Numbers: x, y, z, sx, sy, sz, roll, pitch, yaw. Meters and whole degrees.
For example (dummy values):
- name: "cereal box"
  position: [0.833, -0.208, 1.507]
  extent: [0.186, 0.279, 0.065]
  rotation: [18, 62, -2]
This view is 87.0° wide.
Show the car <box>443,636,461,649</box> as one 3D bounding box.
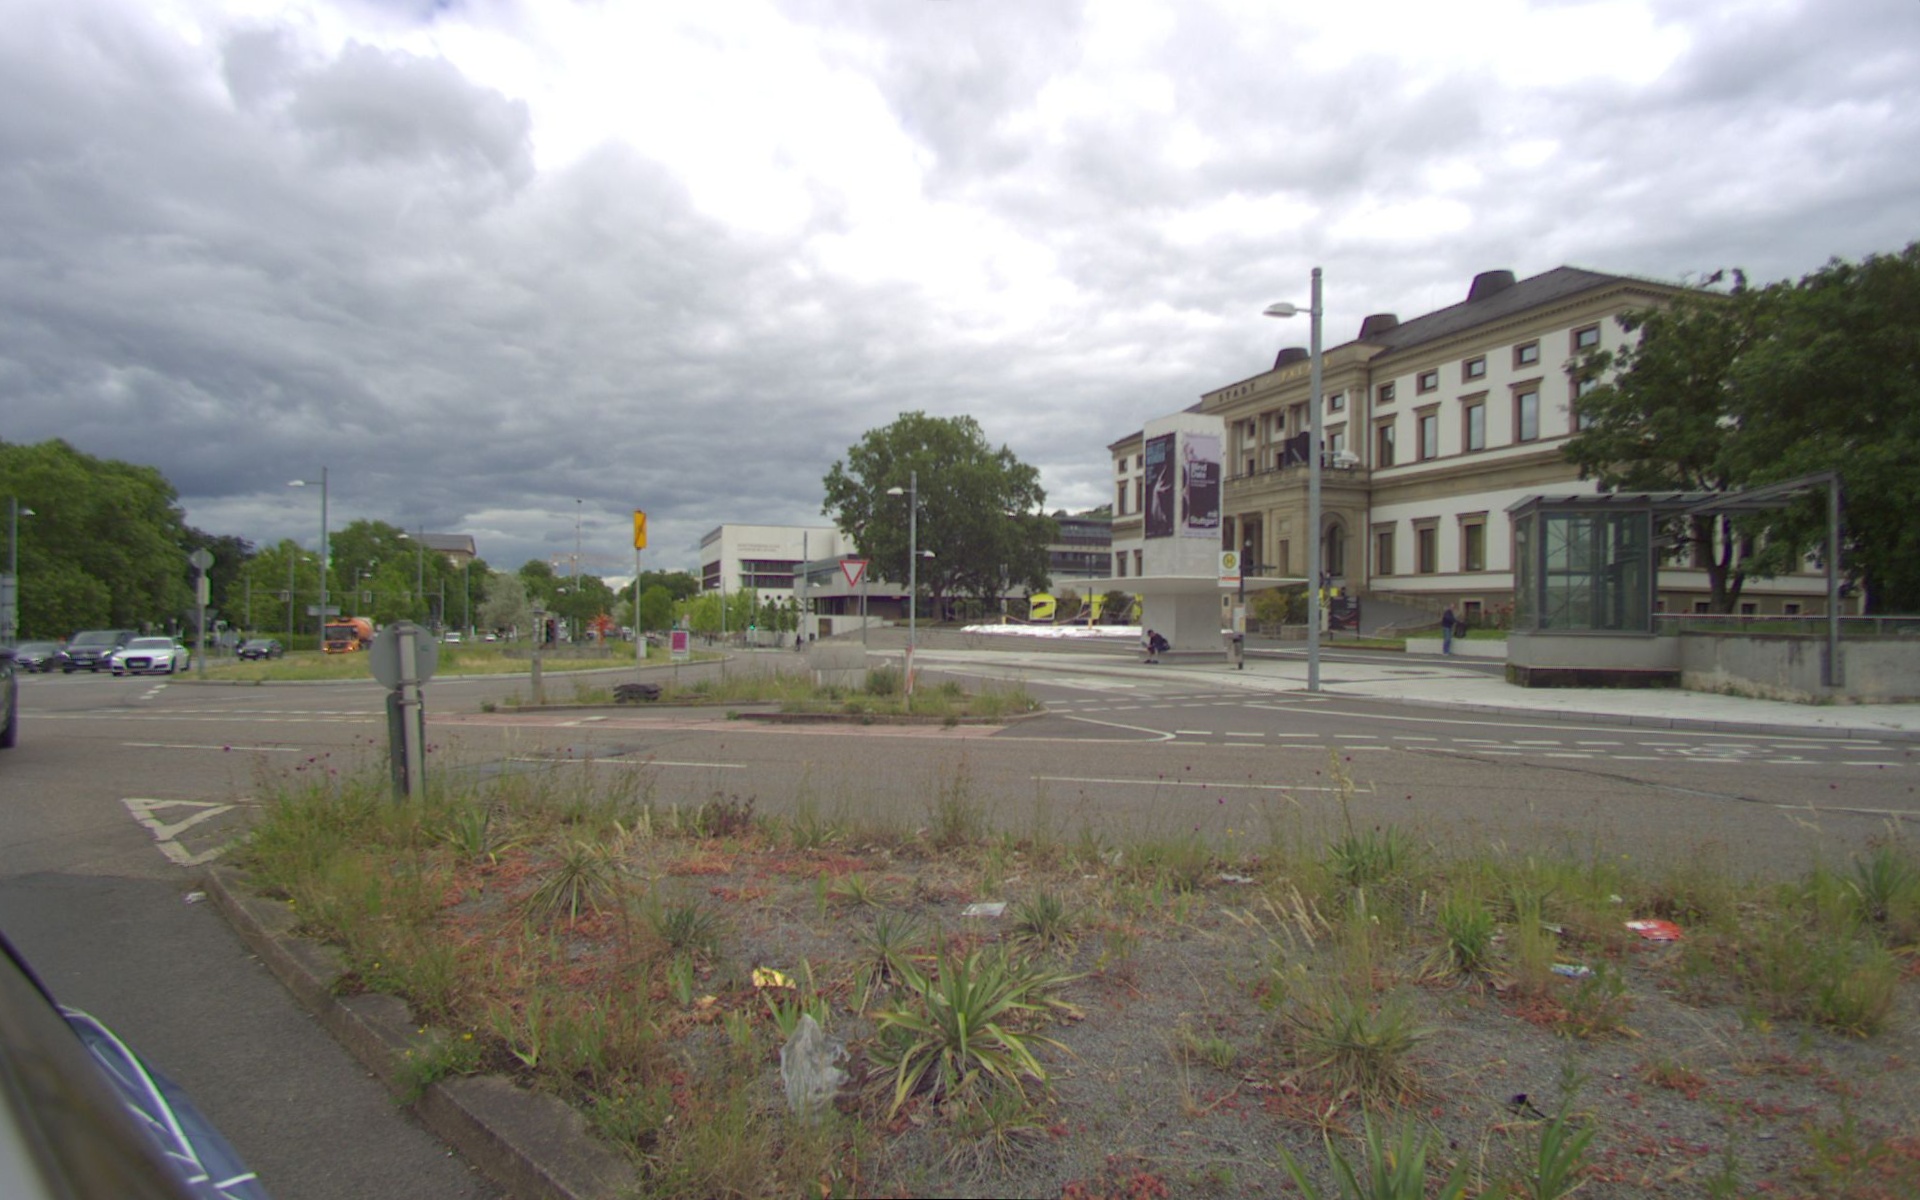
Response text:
- name: "car"
  position: [-77.439, 6.494, 154.242]
  extent: [1.753, 1.859, 3.810]
  rotation: [-1, -2, -17]

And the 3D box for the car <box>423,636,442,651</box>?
- name: "car"
  position: [-71.485, 5.896, 137.165]
  extent: [1.753, 1.859, 3.811]
  rotation: [-1, -2, -20]

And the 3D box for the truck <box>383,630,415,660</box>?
- name: "truck"
  position: [-54.575, 4.346, 98.562]
  extent: [1.923, 2.805, 5.807]
  rotation: [-1, -2, -21]

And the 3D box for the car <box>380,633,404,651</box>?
- name: "car"
  position: [-63.109, 4.671, 112.563]
  extent: [1.753, 1.922, 3.811]
  rotation: [-1, -2, -20]

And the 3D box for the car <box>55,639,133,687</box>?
- name: "car"
  position: [-38.266, 2.735, 44.828]
  extent: [1.829, 2.003, 4.655]
  rotation: [1, -2, -31]

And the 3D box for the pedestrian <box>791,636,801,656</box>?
- name: "pedestrian"
  position: [-14.876, 4.178, 91.723]
  extent: [0.671, 1.762, 0.894]
  rotation: [0, -2, -25]

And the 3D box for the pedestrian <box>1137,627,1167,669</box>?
- name: "pedestrian"
  position: [6.441, 1.592, 33.915]
  extent: [0.694, 1.363, 0.763]
  rotation: [-1, -2, -14]

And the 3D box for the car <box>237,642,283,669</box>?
- name: "car"
  position: [-47.552, 3.758, 68.819]
  extent: [1.828, 1.752, 3.752]
  rotation: [0, -2, -22]

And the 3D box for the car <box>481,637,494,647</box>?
- name: "car"
  position: [-90.225, 7.991, 193.114]
  extent: [1.753, 1.859, 3.810]
  rotation: [-1, -2, -17]

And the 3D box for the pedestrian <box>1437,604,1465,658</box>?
- name: "pedestrian"
  position: [16.881, 1.057, 34.819]
  extent: [0.594, 1.827, 0.596]
  rotation: [-1, -2, -5]

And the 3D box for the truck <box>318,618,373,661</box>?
- name: "truck"
  position: [-55.528, 3.571, 91.636]
  extent: [2.681, 3.644, 9.207]
  rotation: [-1, -2, -21]

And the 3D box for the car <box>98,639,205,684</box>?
- name: "car"
  position: [-31.328, 2.343, 39.368]
  extent: [2.060, 1.621, 4.426]
  rotation: [1, -2, -22]
